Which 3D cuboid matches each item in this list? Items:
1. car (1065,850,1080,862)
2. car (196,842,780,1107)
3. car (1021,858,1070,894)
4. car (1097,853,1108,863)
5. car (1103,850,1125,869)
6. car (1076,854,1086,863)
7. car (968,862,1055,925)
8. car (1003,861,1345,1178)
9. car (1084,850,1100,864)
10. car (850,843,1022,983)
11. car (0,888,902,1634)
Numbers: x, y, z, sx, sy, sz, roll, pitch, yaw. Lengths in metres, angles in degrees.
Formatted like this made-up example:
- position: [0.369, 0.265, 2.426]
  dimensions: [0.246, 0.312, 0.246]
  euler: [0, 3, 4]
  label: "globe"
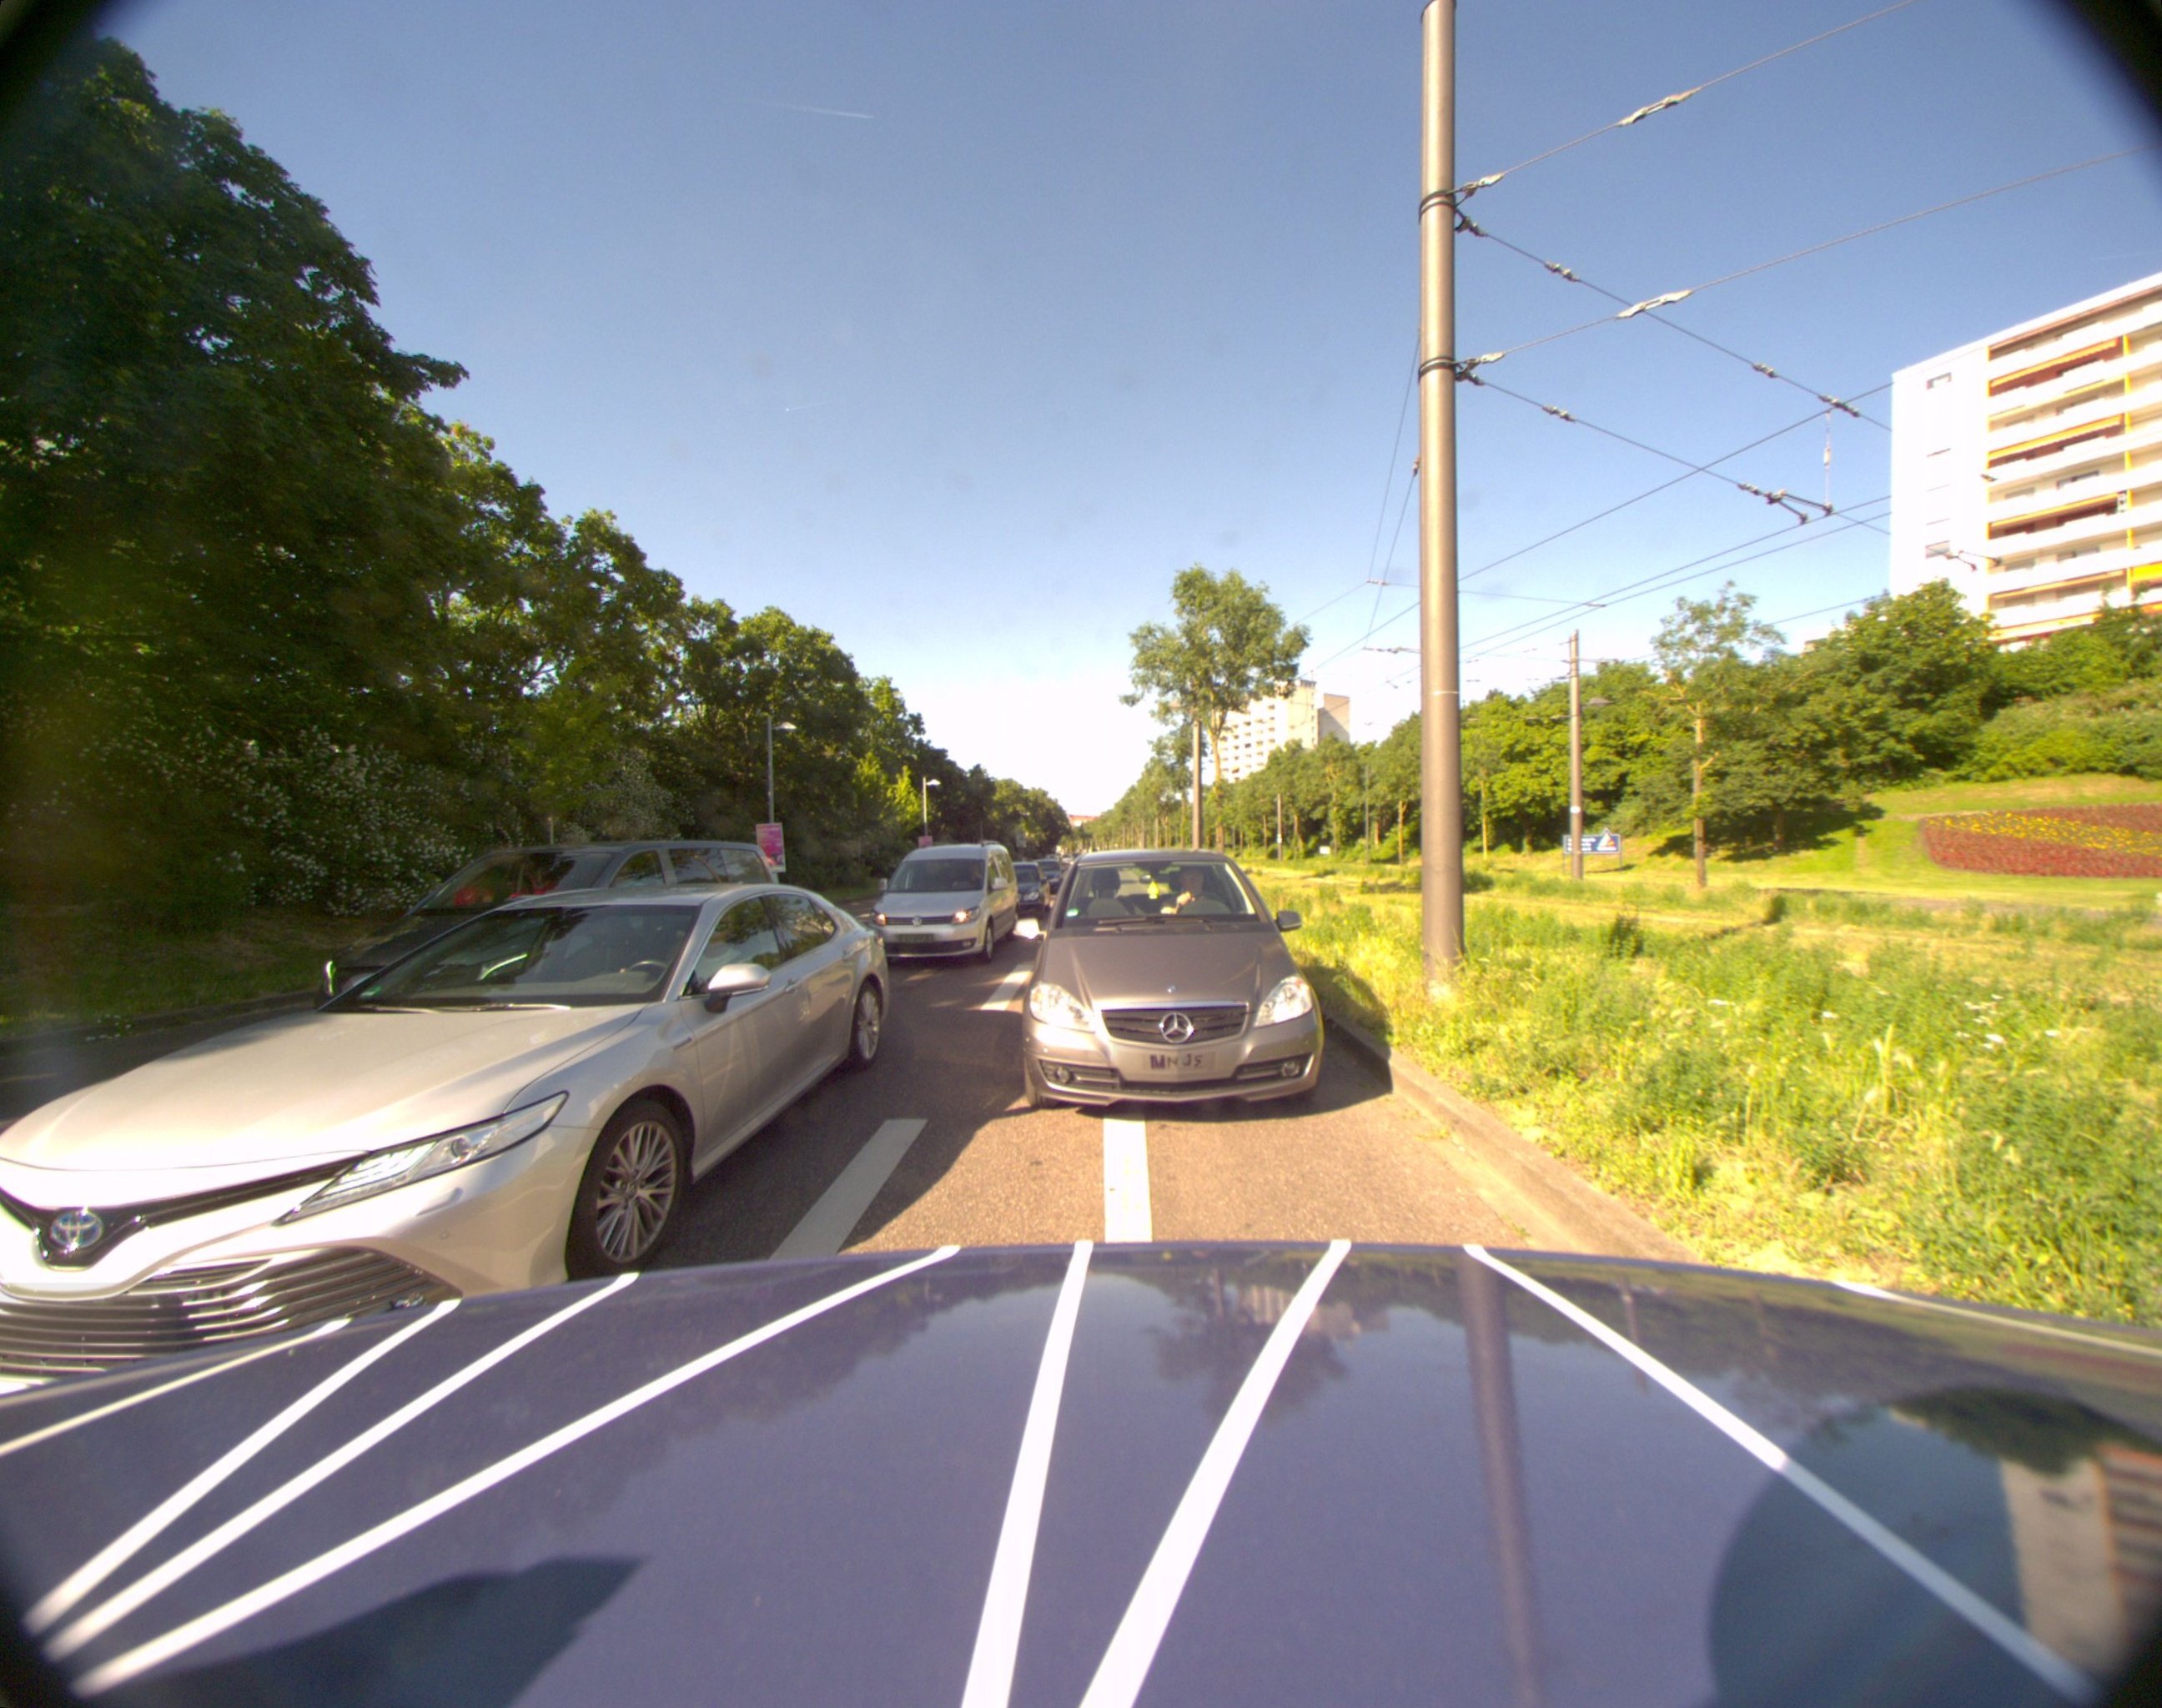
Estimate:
- position: [-1.111, 0.272, 100.652]
  dimensions: [1.777, 1.597, 4.384]
  euler: [-1, 0, 1]
  label: "car"
- position: [-5.284, 0.858, 8.030]
  dimensions: [1.998, 1.882, 5.148]
  euler: [-1, 0, 1]
  label: "car"
- position: [-1.458, 0.886, 32.561]
  dimensions: [1.776, 1.395, 4.067]
  euler: [-1, 0, 2]
  label: "car"
- position: [3.424, 0.632, 120.860]
  dimensions: [1.777, 1.597, 4.384]
  euler: [-1, 0, 1]
  label: "car"
- position: [2.951, 0.453, 68.271]
  dimensions: [1.777, 1.597, 4.384]
  euler: [-1, 0, 1]
  label: "car"
- position: [-0.001, 0.835, 139.831]
  dimensions: [1.777, 1.597, 4.300]
  euler: [-1, 0, 1]
  label: "car"
- position: [-1.708, 0.965, 20.016]
  dimensions: [1.776, 1.395, 4.067]
  euler: [-1, 0, 2]
  label: "car"
- position: [0.519, 0.894, 6.195]
  dimensions: [1.777, 1.597, 4.384]
  euler: [-1, 0, 1]
  label: "car"
- position: [1.294, 0.387, 90.196]
  dimensions: [1.777, 1.597, 4.384]
  euler: [-1, 0, 1]
  label: "car"
- position: [-2.148, 0.793, 12.644]
  dimensions: [1.822, 1.893, 4.622]
  euler: [-1, 0, 2]
  label: "car"
- position: [-2.641, 1.044, 4.110]
  dimensions: [2.069, 1.451, 4.749]
  euler: [-1, 0, 2]
  label: "car"
